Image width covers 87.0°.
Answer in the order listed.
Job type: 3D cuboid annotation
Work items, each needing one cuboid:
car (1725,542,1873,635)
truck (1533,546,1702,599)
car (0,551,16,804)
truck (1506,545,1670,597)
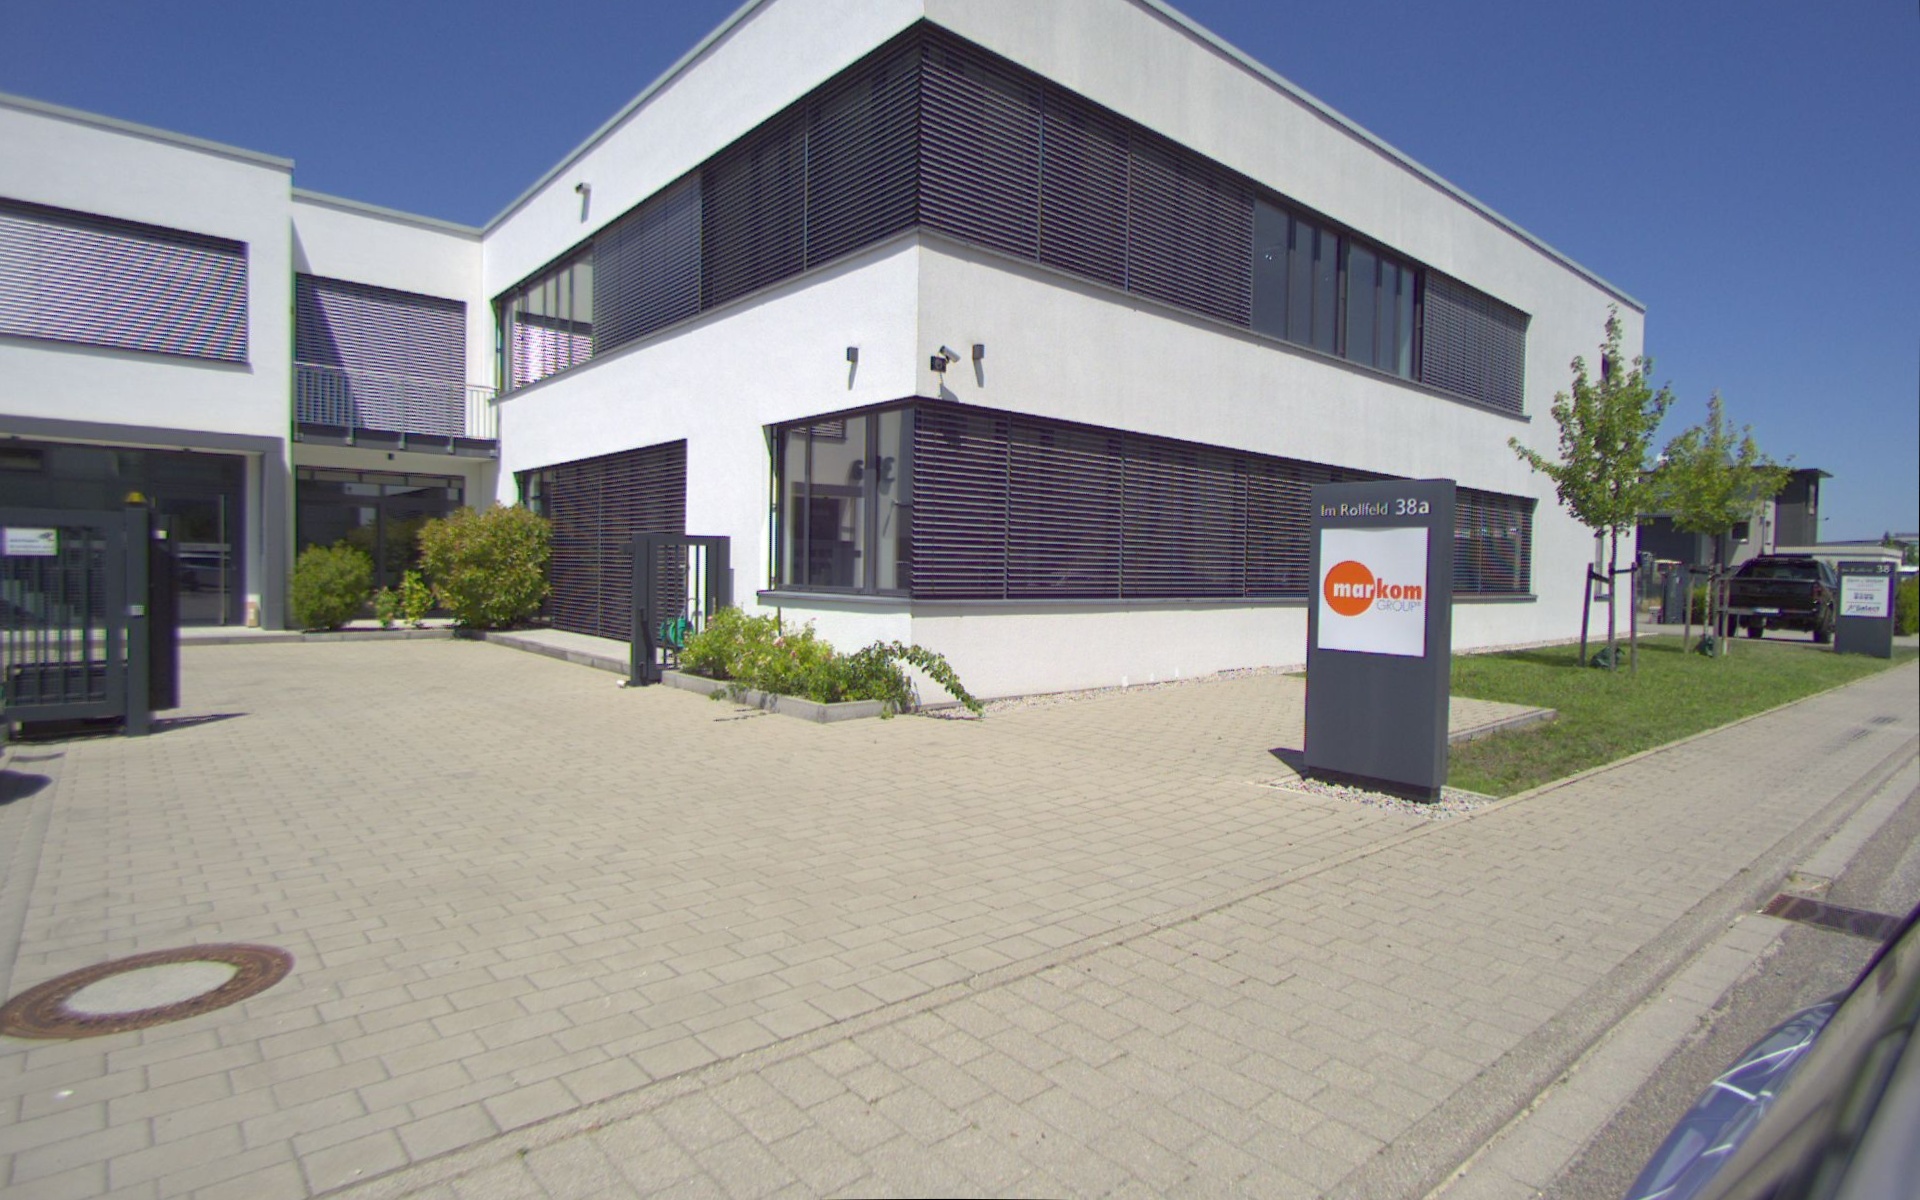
[{"bbox_3d":[20.677,-0.231,24.829,5.700,2.039,1.997,2,1,-43],"label":"car"},{"bbox_3d":[40.345,-1.705,62.427,2.579,3.059,8.351,-1,2,-40],"label":"truck"},{"bbox_3d":[-7.413,0.463,4.986,3.952,1.467,1.726,-1,1,-41],"label":"car"},{"bbox_3d":[41.893,-1.953,67.806,2.642,3.216,8.963,-1,2,-40],"label":"truck"}]
